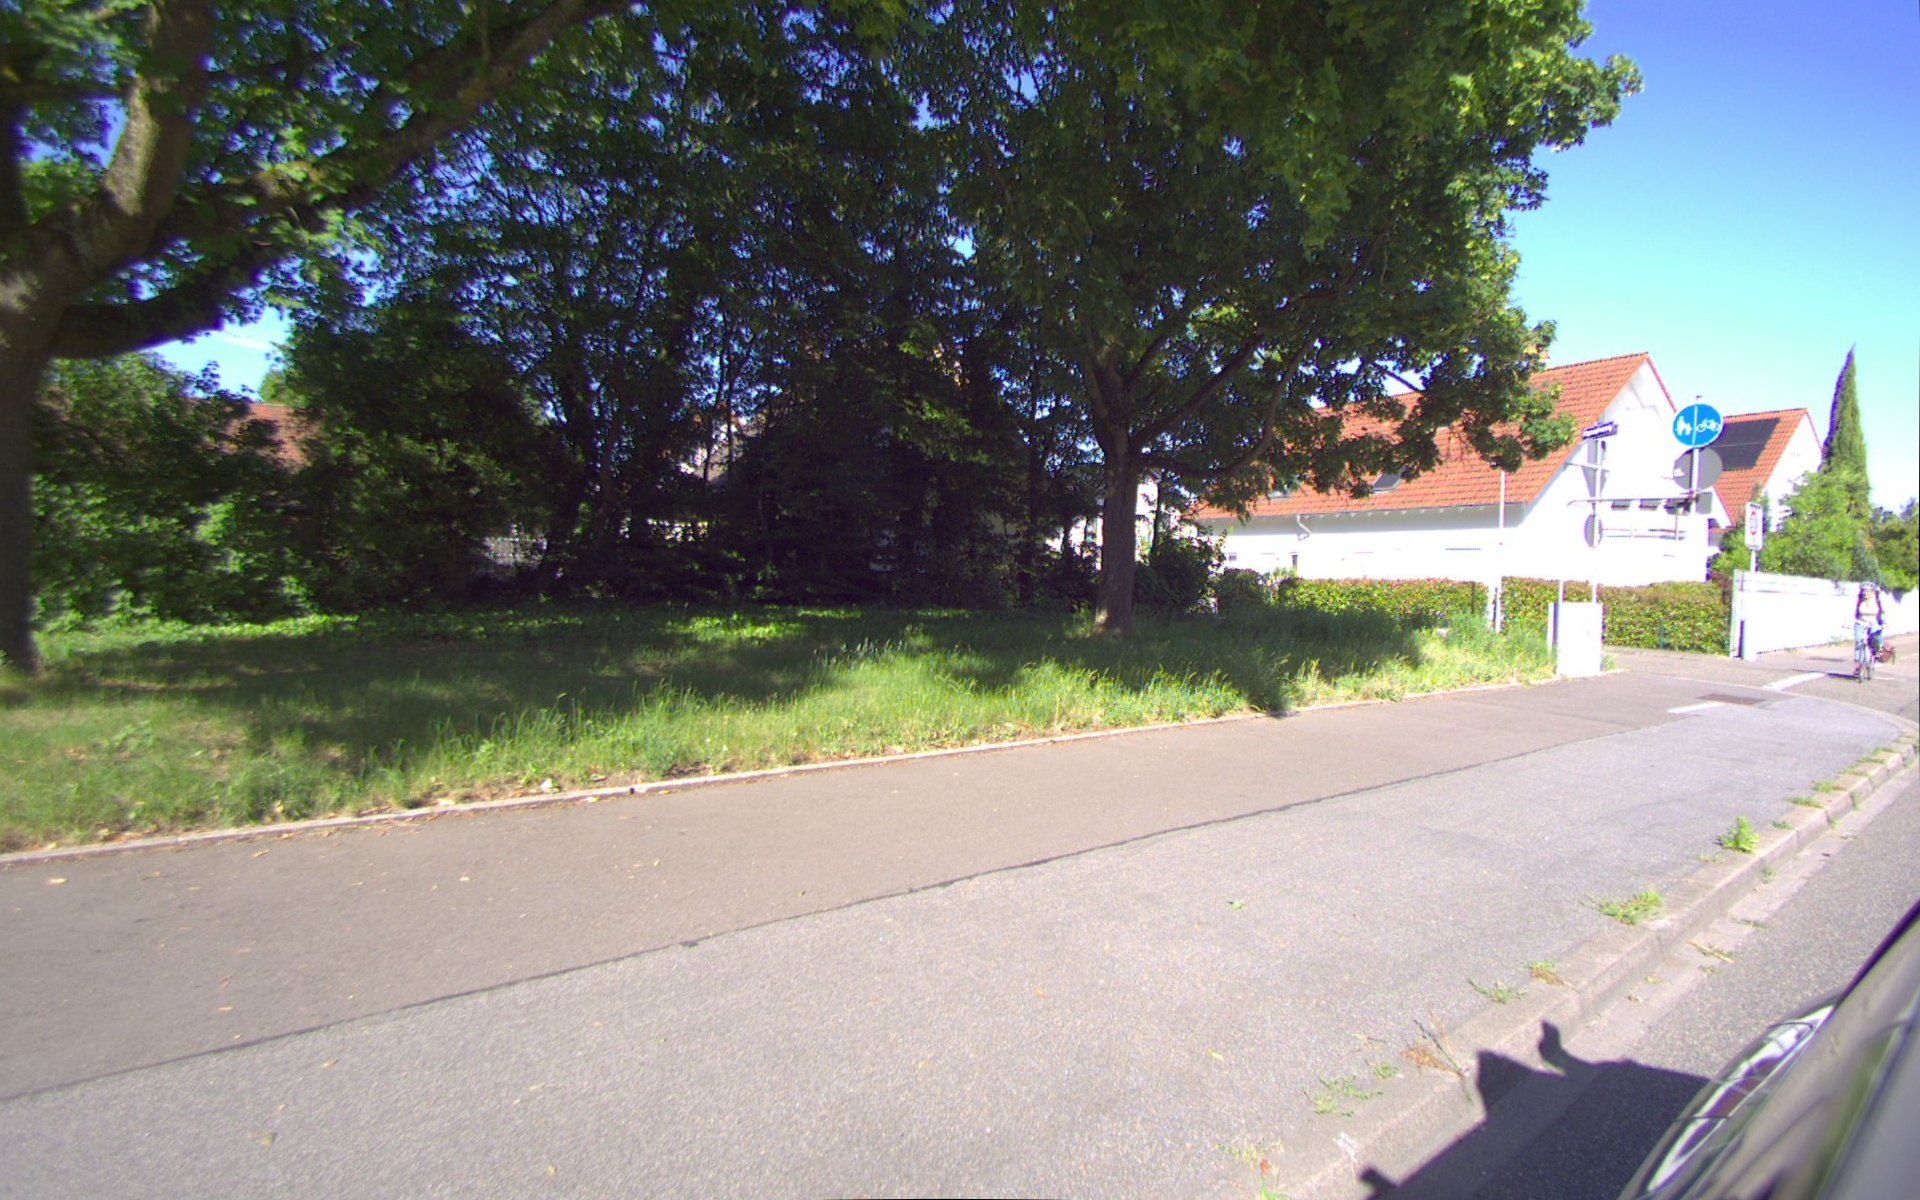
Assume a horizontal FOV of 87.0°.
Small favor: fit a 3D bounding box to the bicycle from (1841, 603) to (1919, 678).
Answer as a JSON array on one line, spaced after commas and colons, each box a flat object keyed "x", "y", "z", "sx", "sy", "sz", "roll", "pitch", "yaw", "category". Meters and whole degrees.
[{"x": 15.698, "y": 0.677, "z": 17.247, "sx": 2.101, "sy": 1.169, "sz": 0.576, "roll": 1, "pitch": 4, "yaw": -38, "category": "bicycle"}]

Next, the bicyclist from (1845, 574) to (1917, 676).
[{"x": 15.715, "y": 0.420, "z": 17.267, "sx": 0.964, "sy": 1.652, "sz": 0.632, "roll": 1, "pitch": 4, "yaw": -38, "category": "bicyclist"}]
